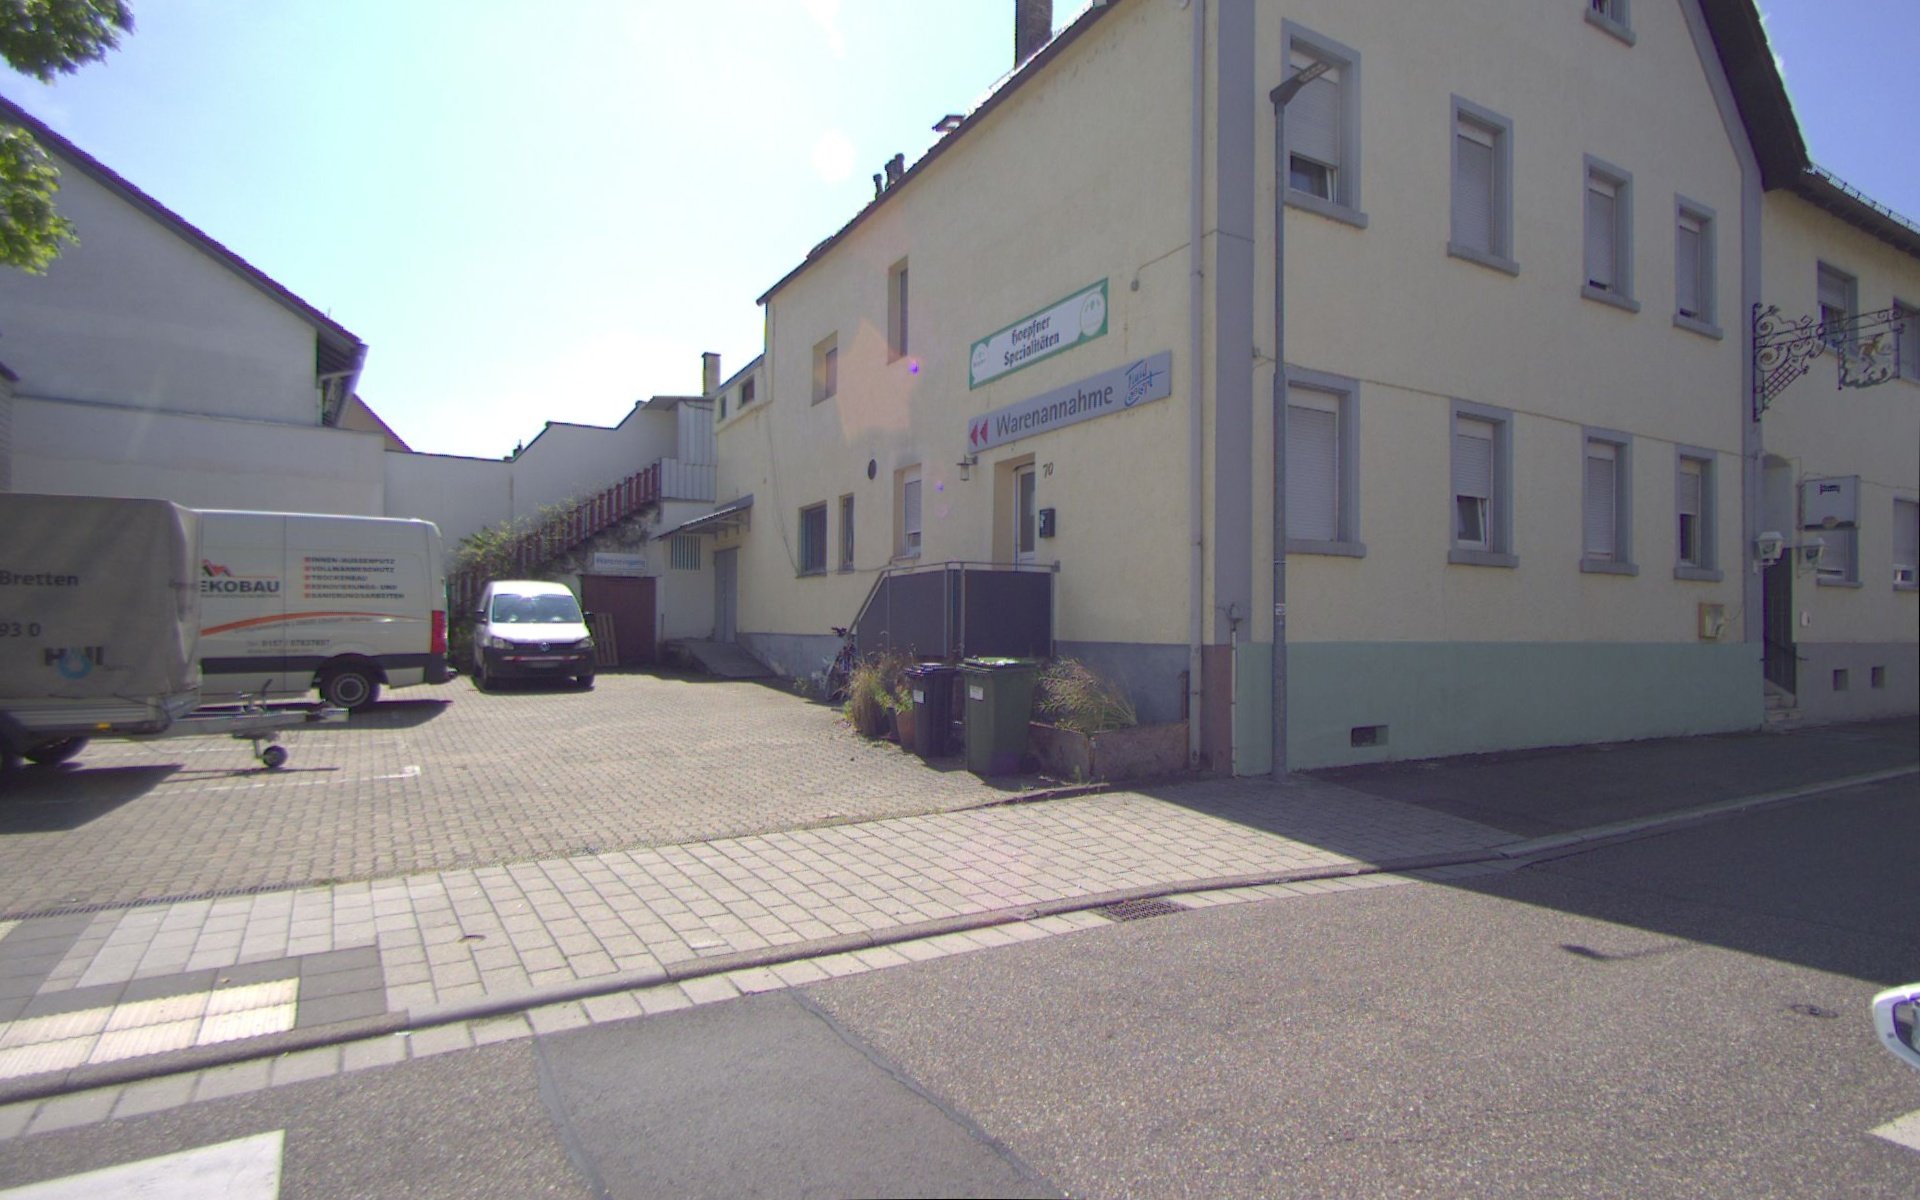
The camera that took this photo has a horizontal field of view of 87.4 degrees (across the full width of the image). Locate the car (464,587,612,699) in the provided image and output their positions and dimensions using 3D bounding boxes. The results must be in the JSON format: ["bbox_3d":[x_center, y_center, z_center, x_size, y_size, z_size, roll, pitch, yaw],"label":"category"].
[{"bbox_3d":[-7.826,0.685,18.354,1.883,1.782,4.544,2,0,-30],"label":"car"}]

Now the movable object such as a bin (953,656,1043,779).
[{"bbox_3d":[0.358,1.088,9.543,0.650,1.093,0.597,1,-2,-30],"label":"movable object such as a bin"}]

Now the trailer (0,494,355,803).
[{"bbox_3d":[-7.769,0.373,8.527,4.473,2.366,1.869,1,0,-32],"label":"trailer"}]

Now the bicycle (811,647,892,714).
[{"bbox_3d":[-1.707,1.205,15.498,0.535,0.925,2.162,1,-2,-26],"label":"bicycle"}]

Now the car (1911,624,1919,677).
[{"bbox_3d":[30.299,1.529,30.136,4.155,1.577,1.709,1,0,-34],"label":"car"}]

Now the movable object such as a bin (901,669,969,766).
[{"bbox_3d":[-0.259,1.192,10.355,0.540,0.940,0.477,1,-2,-30],"label":"movable object such as a bin"}]

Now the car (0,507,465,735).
[{"bbox_3d":[-9.753,0.264,13.297,5.584,2.601,1.926,1,0,-32],"label":"car"}]
